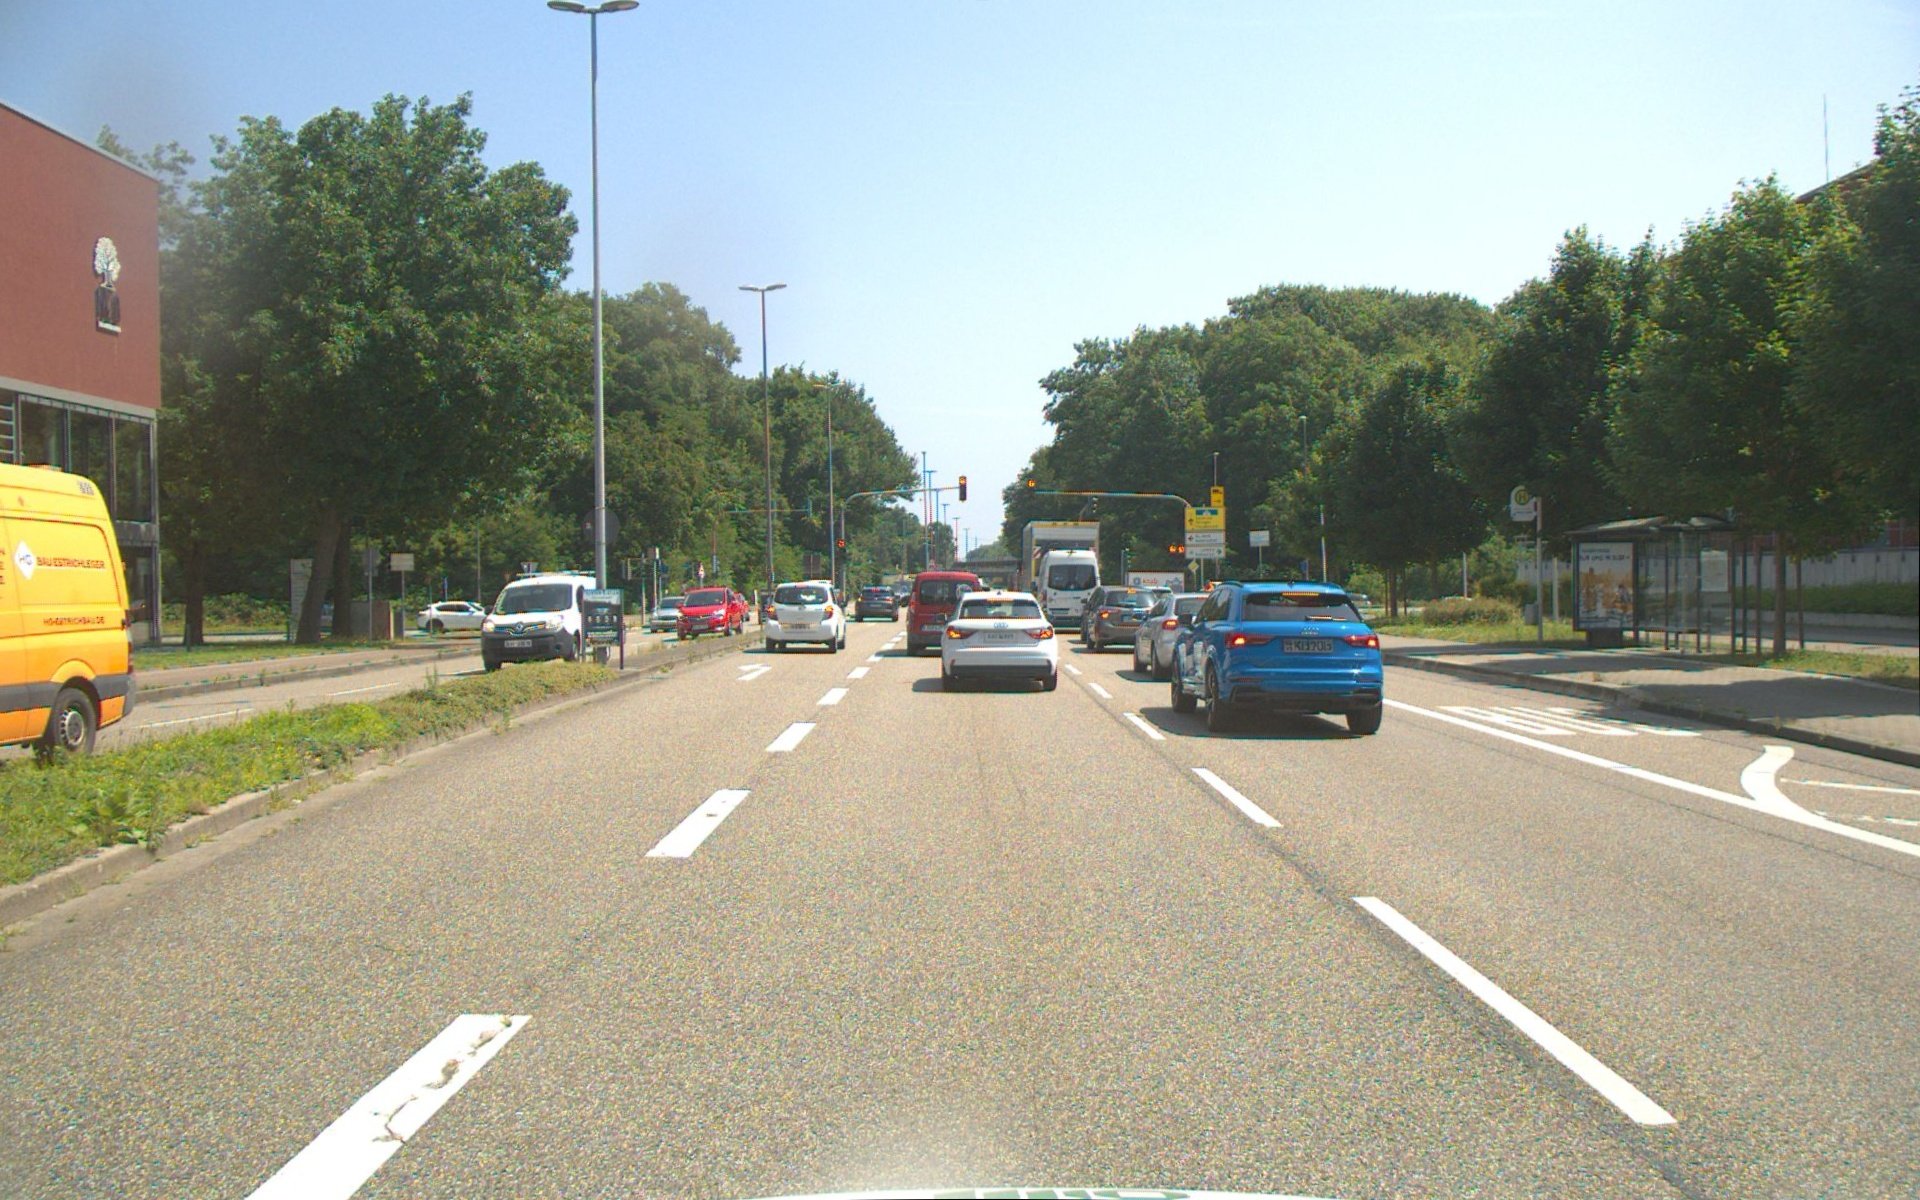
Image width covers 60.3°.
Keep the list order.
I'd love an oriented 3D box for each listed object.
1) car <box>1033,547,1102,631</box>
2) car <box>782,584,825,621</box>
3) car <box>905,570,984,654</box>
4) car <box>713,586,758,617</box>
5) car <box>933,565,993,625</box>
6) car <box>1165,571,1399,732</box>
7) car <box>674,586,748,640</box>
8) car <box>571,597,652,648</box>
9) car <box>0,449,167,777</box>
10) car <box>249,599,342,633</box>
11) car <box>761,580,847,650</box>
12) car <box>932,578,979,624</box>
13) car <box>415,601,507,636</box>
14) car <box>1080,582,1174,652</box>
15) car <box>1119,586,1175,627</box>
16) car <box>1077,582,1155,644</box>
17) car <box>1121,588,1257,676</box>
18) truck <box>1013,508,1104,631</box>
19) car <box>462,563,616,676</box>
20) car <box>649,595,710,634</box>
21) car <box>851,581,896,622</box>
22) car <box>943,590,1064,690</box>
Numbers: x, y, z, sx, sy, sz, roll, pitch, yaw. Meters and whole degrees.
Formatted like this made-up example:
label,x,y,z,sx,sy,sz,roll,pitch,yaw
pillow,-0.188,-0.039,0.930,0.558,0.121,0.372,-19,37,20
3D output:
label,x,y,z,sx,sy,sz,roll,pitch,yaw
car,3.550,-0.355,55.439,1.989,2.690,4.845,0,0,0
car,-8.976,0.103,95.244,1.953,1.979,4.907,-3,0,-1
car,-0.370,0.238,36.939,1.677,1.779,4.091,0,0,-1
car,-11.546,0.048,85.332,1.671,1.477,3.891,-4,0,0
car,0.048,-0.151,48.324,1.677,1.660,4.091,0,0,-1
car,3.537,0.499,18.974,1.800,1.623,4.400,0,0,-1
car,-8.043,0.380,53.760,1.713,1.597,4.153,-3,1,0
car,-11.365,0.707,54.127,1.713,1.476,4.133,-3,1,0
car,-8.753,0.151,12.806,2.219,2.612,6.057,-3,1,0
car,-35.403,0.865,88.237,4.292,1.711,1.806,1,-1,-11
car,-3.531,0.307,38.090,1.677,1.519,4.091,0,0,-1
car,-0.196,0.025,61.357,1.677,1.660,4.091,0,0,-1
car,-25.739,0.961,85.464,4.288,1.711,1.807,1,0,-8
car,3.930,0.369,39.477,1.677,1.504,4.091,3,0,-1
car,7.331,0.247,65.098,1.677,1.573,4.091,0,0,-1
car,4.228,0.327,45.382,1.677,1.621,4.091,0,0,-1
car,3.858,0.499,28.460,1.677,1.386,4.091,1,0,-1
truck,3.799,-1.163,66.689,3.025,4.511,11.580,0,0,0
car,-8.161,0.327,32.463,1.814,1.938,4.425,-4,1,-1
car,-11.466,0.566,67.815,1.741,1.428,4.359,-4,1,-1
car,-3.622,0.053,69.841,1.738,1.670,4.036,0,0,-1
car,0.603,0.559,25.521,1.677,1.410,4.091,0,0,-1
